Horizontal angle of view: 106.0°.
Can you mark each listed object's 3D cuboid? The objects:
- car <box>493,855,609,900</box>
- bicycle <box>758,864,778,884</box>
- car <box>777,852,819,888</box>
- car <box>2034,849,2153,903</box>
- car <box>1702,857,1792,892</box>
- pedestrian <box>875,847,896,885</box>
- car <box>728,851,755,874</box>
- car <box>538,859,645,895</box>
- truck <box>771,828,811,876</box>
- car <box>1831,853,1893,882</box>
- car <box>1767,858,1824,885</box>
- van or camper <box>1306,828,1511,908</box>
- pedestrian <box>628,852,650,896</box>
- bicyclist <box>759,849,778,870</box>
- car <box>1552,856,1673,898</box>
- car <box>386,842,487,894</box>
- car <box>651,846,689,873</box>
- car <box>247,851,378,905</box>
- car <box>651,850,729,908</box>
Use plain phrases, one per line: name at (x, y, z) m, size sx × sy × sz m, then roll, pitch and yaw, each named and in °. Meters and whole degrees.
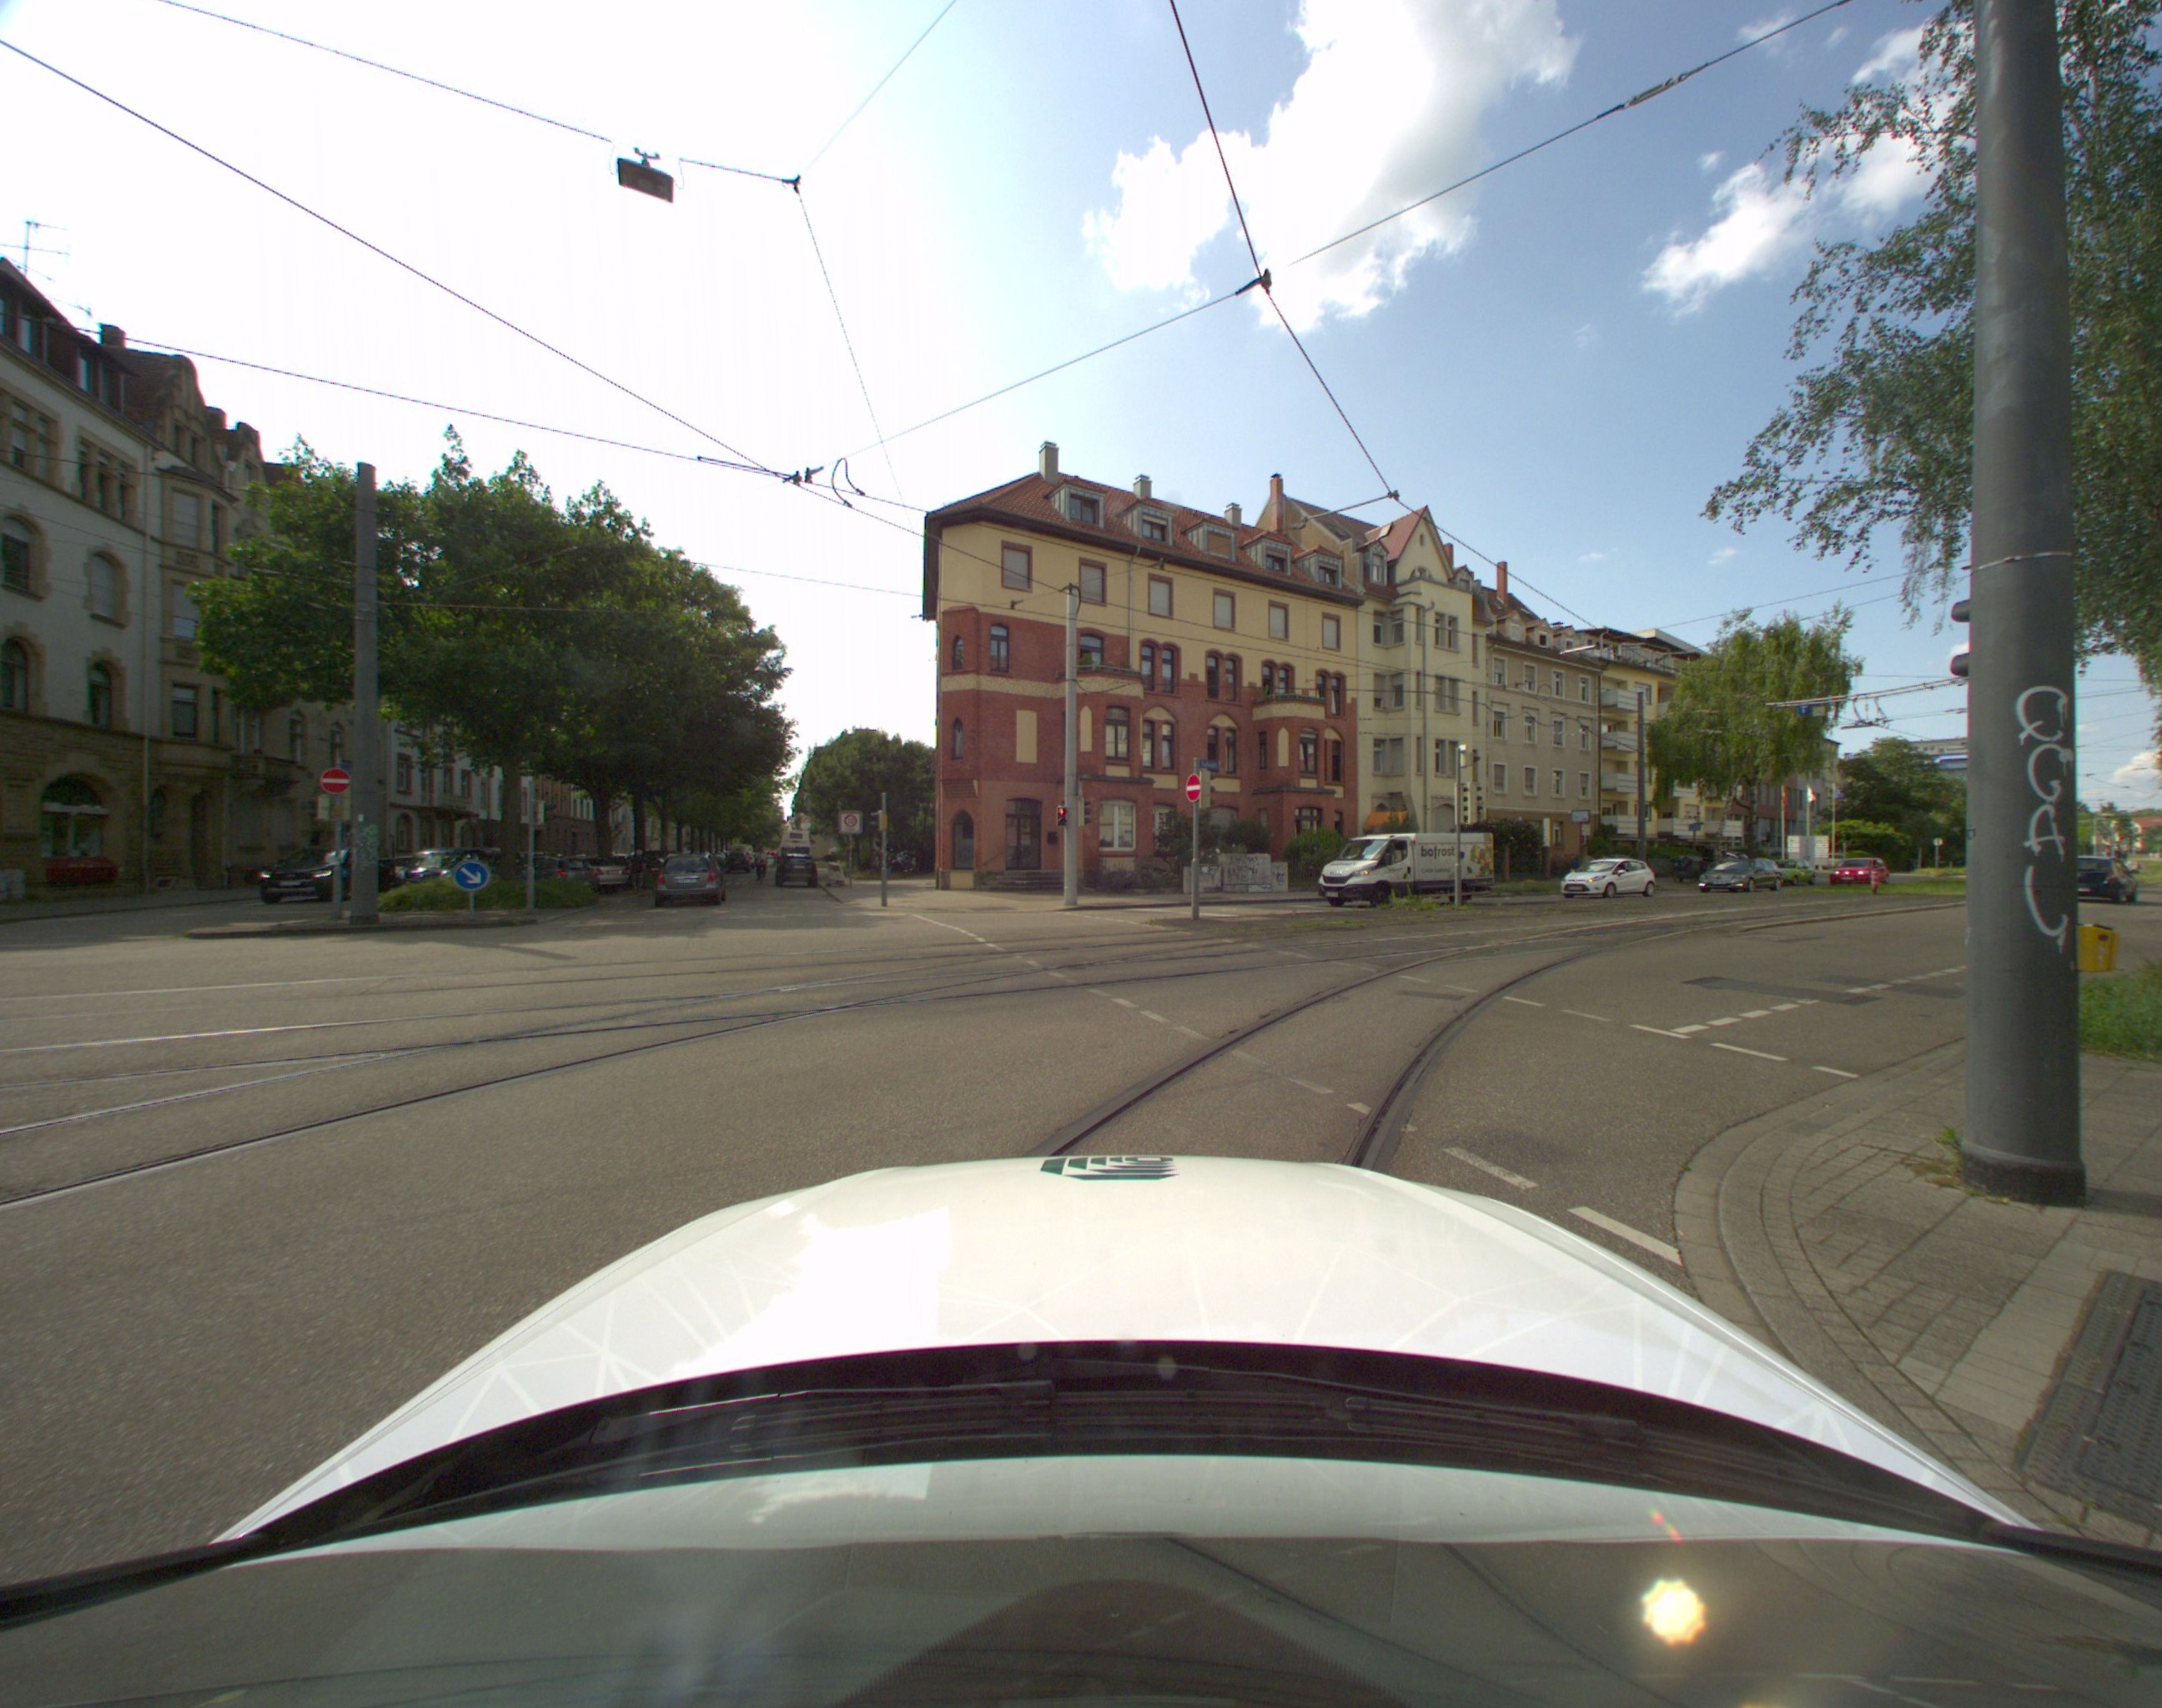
car at (-19.317, 0.808, 29.679) m, size 3.949 × 1.494 × 1.987 m, roll 0°, pitch 0°, yaw 30°
bicycle at (-16.581, 1.052, 43.176) m, size 0.751 × 0.958 × 2.286 m, roll -1°, pitch 0°, yaw -16°
car at (-13.896, 0.746, 40.072) m, size 1.756 × 1.633 × 3.480 m, roll 0°, pitch 0°, yaw -16°
car at (33.427, 0.668, 26.882) m, size 3.824 × 1.574 × 1.889 m, roll -1°, pitch 2°, yaw -30°
car at (28.270, 0.819, 34.554) m, size 4.000 × 1.371 × 2.210 m, roll 0°, pitch 0°, yaw -39°
pedestrian at (-8.554, 0.522, 35.649) m, size 0.870 × 1.656 × 0.732 m, roll 0°, pitch 0°, yaw -16°
car at (-26.835, 0.624, 64.368) m, size 1.728 × 1.706 × 3.653 m, roll -1°, pitch 0°, yaw -19°
car at (-19.476, 0.868, 32.395) m, size 3.949 × 1.339 × 1.987 m, roll 0°, pitch 0°, yaw 30°
truck at (-18.483, -0.145, 52.101) m, size 2.128 × 2.970 × 3.978 m, roll -1°, pitch 0°, yaw -16°
car at (40.852, 0.690, 42.595) m, size 3.367 × 1.442 × 1.698 m, roll 0°, pitch 0°, yaw -34°
car at (38.700, 0.915, 44.092) m, size 3.200 × 1.386 × 1.551 m, roll 0°, pitch 0°, yaw -34°
van or camper at (10.265, 0.383, 25.387) m, size 6.560 × 2.253 × 2.228 m, roll 0°, pitch 0°, yaw -28°
pedestrian at (-17.485, 0.788, 32.214) m, size 0.653 × 1.725 × 0.492 m, roll 0°, pitch 0°, yaw -17°
bicyclist at (-16.627, 0.278, 43.347) m, size 0.838 × 1.082 × 1.392 m, roll -1°, pitch 0°, yaw -16°
car at (19.666, 0.801, 30.110) m, size 4.025 × 1.439 × 1.920 m, roll 0°, pitch 0°, yaw -25°
car at (-23.289, 0.454, 29.615) m, size 2.004 × 1.728 × 3.967 m, roll -1°, pitch 0°, yaw -25°
car at (-26.453, 0.334, 52.476) m, size 1.758 × 1.633 × 3.476 m, roll 0°, pitch 0°, yaw -20°
car at (-25.392, 0.729, 27.110) m, size 2.004 × 1.618 × 3.967 m, roll -1°, pitch 0°, yaw -25°
car at (-11.856, 0.684, 24.880) m, size 1.728 × 1.605 × 3.653 m, roll -1°, pitch 0°, yaw -19°
